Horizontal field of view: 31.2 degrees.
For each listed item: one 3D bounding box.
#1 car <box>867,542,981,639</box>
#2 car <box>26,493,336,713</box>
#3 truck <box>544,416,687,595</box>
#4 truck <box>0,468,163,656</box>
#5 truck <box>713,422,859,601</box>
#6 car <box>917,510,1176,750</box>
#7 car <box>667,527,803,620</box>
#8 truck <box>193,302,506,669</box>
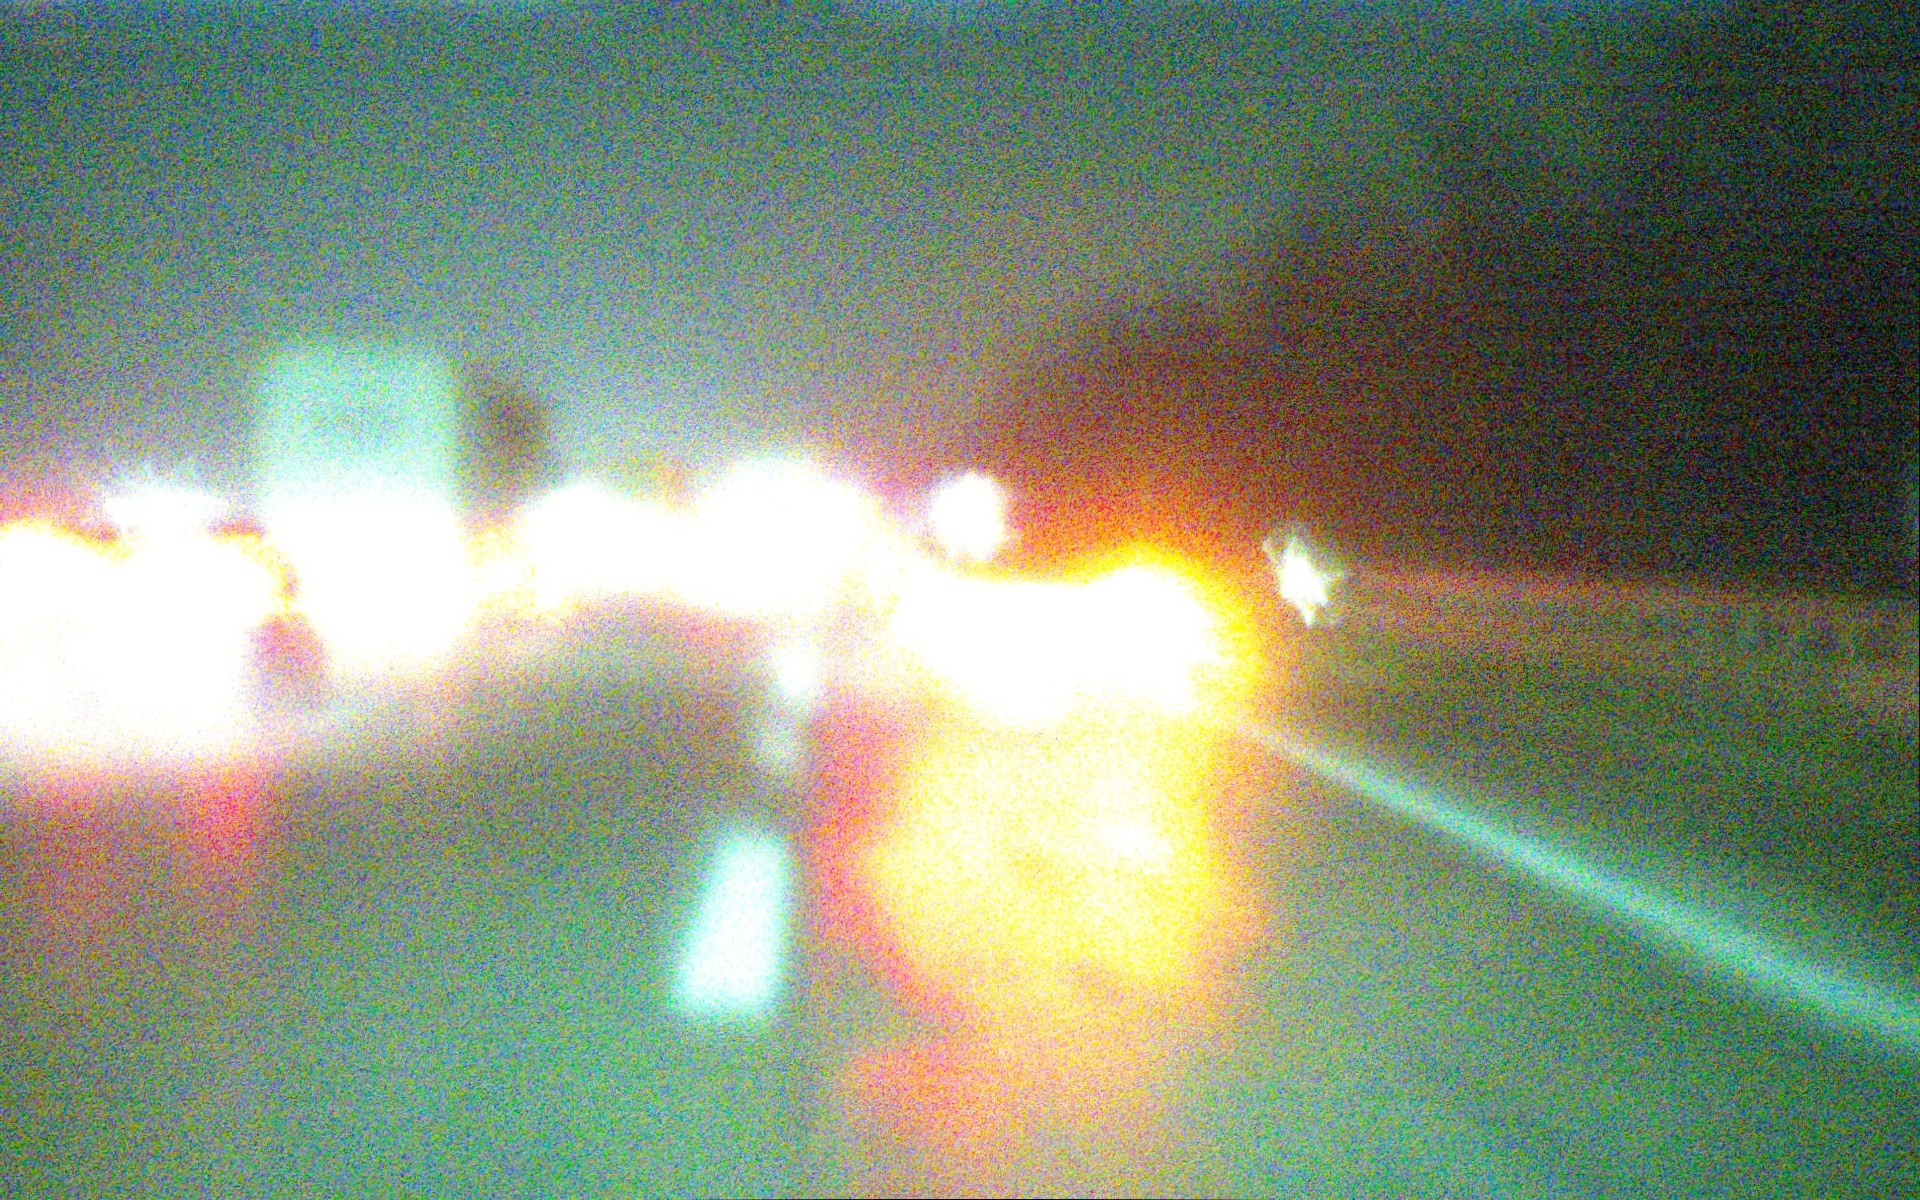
[{"bbox_3d":[-0.689,-0.198,63.226,1.993,1.698,4.459,1,1,-2],"label":"car"},{"bbox_3d":[-6.749,-0.011,30.238,2.038,1.755,4.516,1,1,-5],"label":"car"},{"bbox_3d":[-11.061,-2.978,110.932,4.253,5.425,10.886,1,1,-5],"label":"truck"},{"bbox_3d":[-11.953,-0.505,43.269,2.856,2.193,5.859,1,1,-4],"label":"truck"},{"bbox_3d":[-5.485,-2.681,106.363,4.161,5.197,9.956,1,1,-4],"label":"truck"},{"bbox_3d":[0.620,0.195,27.549,1.878,1.756,4.000,1,1,-1],"label":"car"},{"bbox_3d":[-5.105,-0.628,78.804,2.832,2.007,5.511,1,1,-1],"label":"car"},{"bbox_3d":[-8.610,-1.564,49.795,3.655,4.721,9.854,1,1,-6],"label":"truck"}]
